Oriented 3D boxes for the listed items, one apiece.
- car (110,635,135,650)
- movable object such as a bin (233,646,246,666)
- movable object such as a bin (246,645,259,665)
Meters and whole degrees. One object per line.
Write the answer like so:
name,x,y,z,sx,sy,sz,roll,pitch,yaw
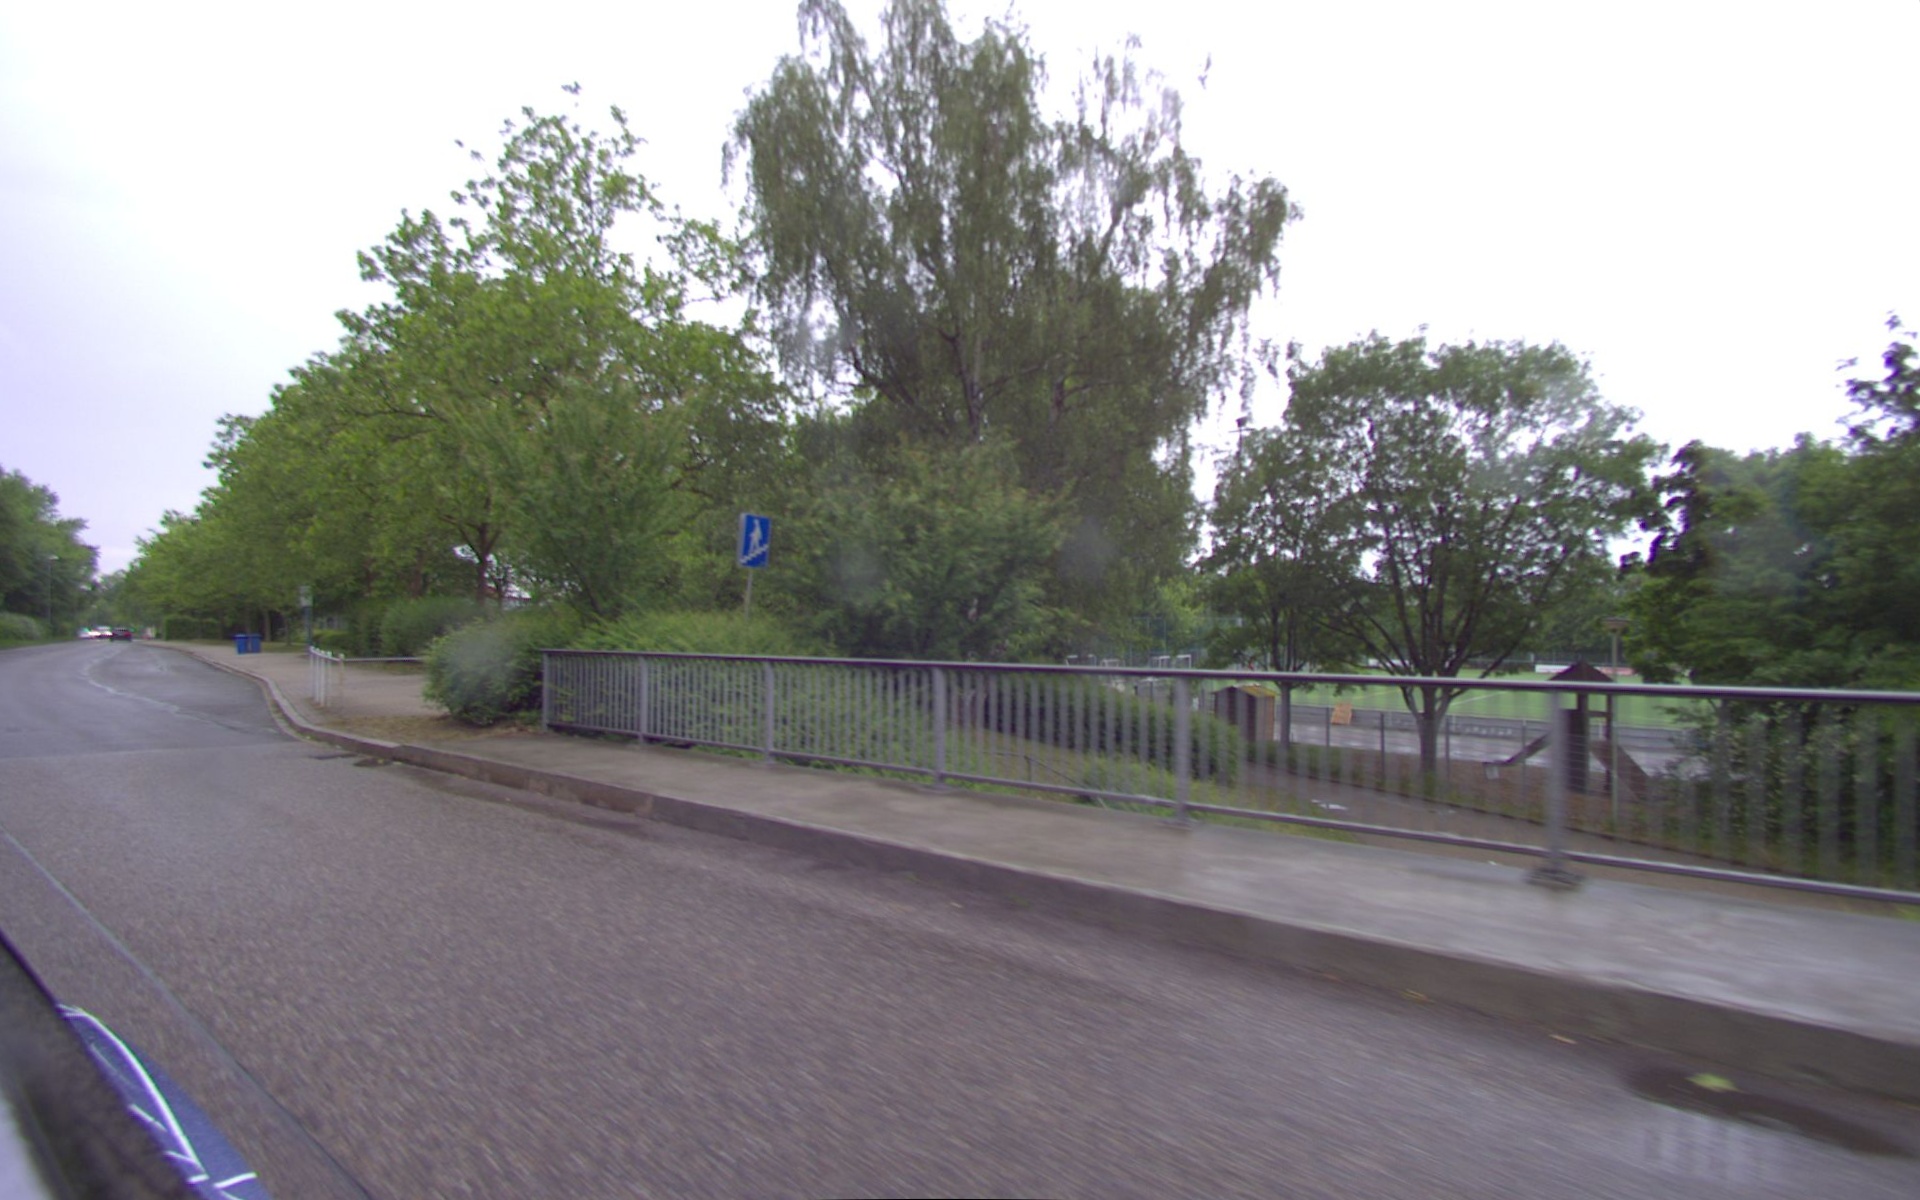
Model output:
car,-89.197,4.531,107.806,1.802,1.476,4.008,3,-3,-38
movable object such as a bin,-40.657,3.140,57.091,0.559,1.107,0.673,-2,-1,-37
movable object such as a bin,-40.296,3.139,57.598,0.559,1.107,0.673,-2,-1,-37
